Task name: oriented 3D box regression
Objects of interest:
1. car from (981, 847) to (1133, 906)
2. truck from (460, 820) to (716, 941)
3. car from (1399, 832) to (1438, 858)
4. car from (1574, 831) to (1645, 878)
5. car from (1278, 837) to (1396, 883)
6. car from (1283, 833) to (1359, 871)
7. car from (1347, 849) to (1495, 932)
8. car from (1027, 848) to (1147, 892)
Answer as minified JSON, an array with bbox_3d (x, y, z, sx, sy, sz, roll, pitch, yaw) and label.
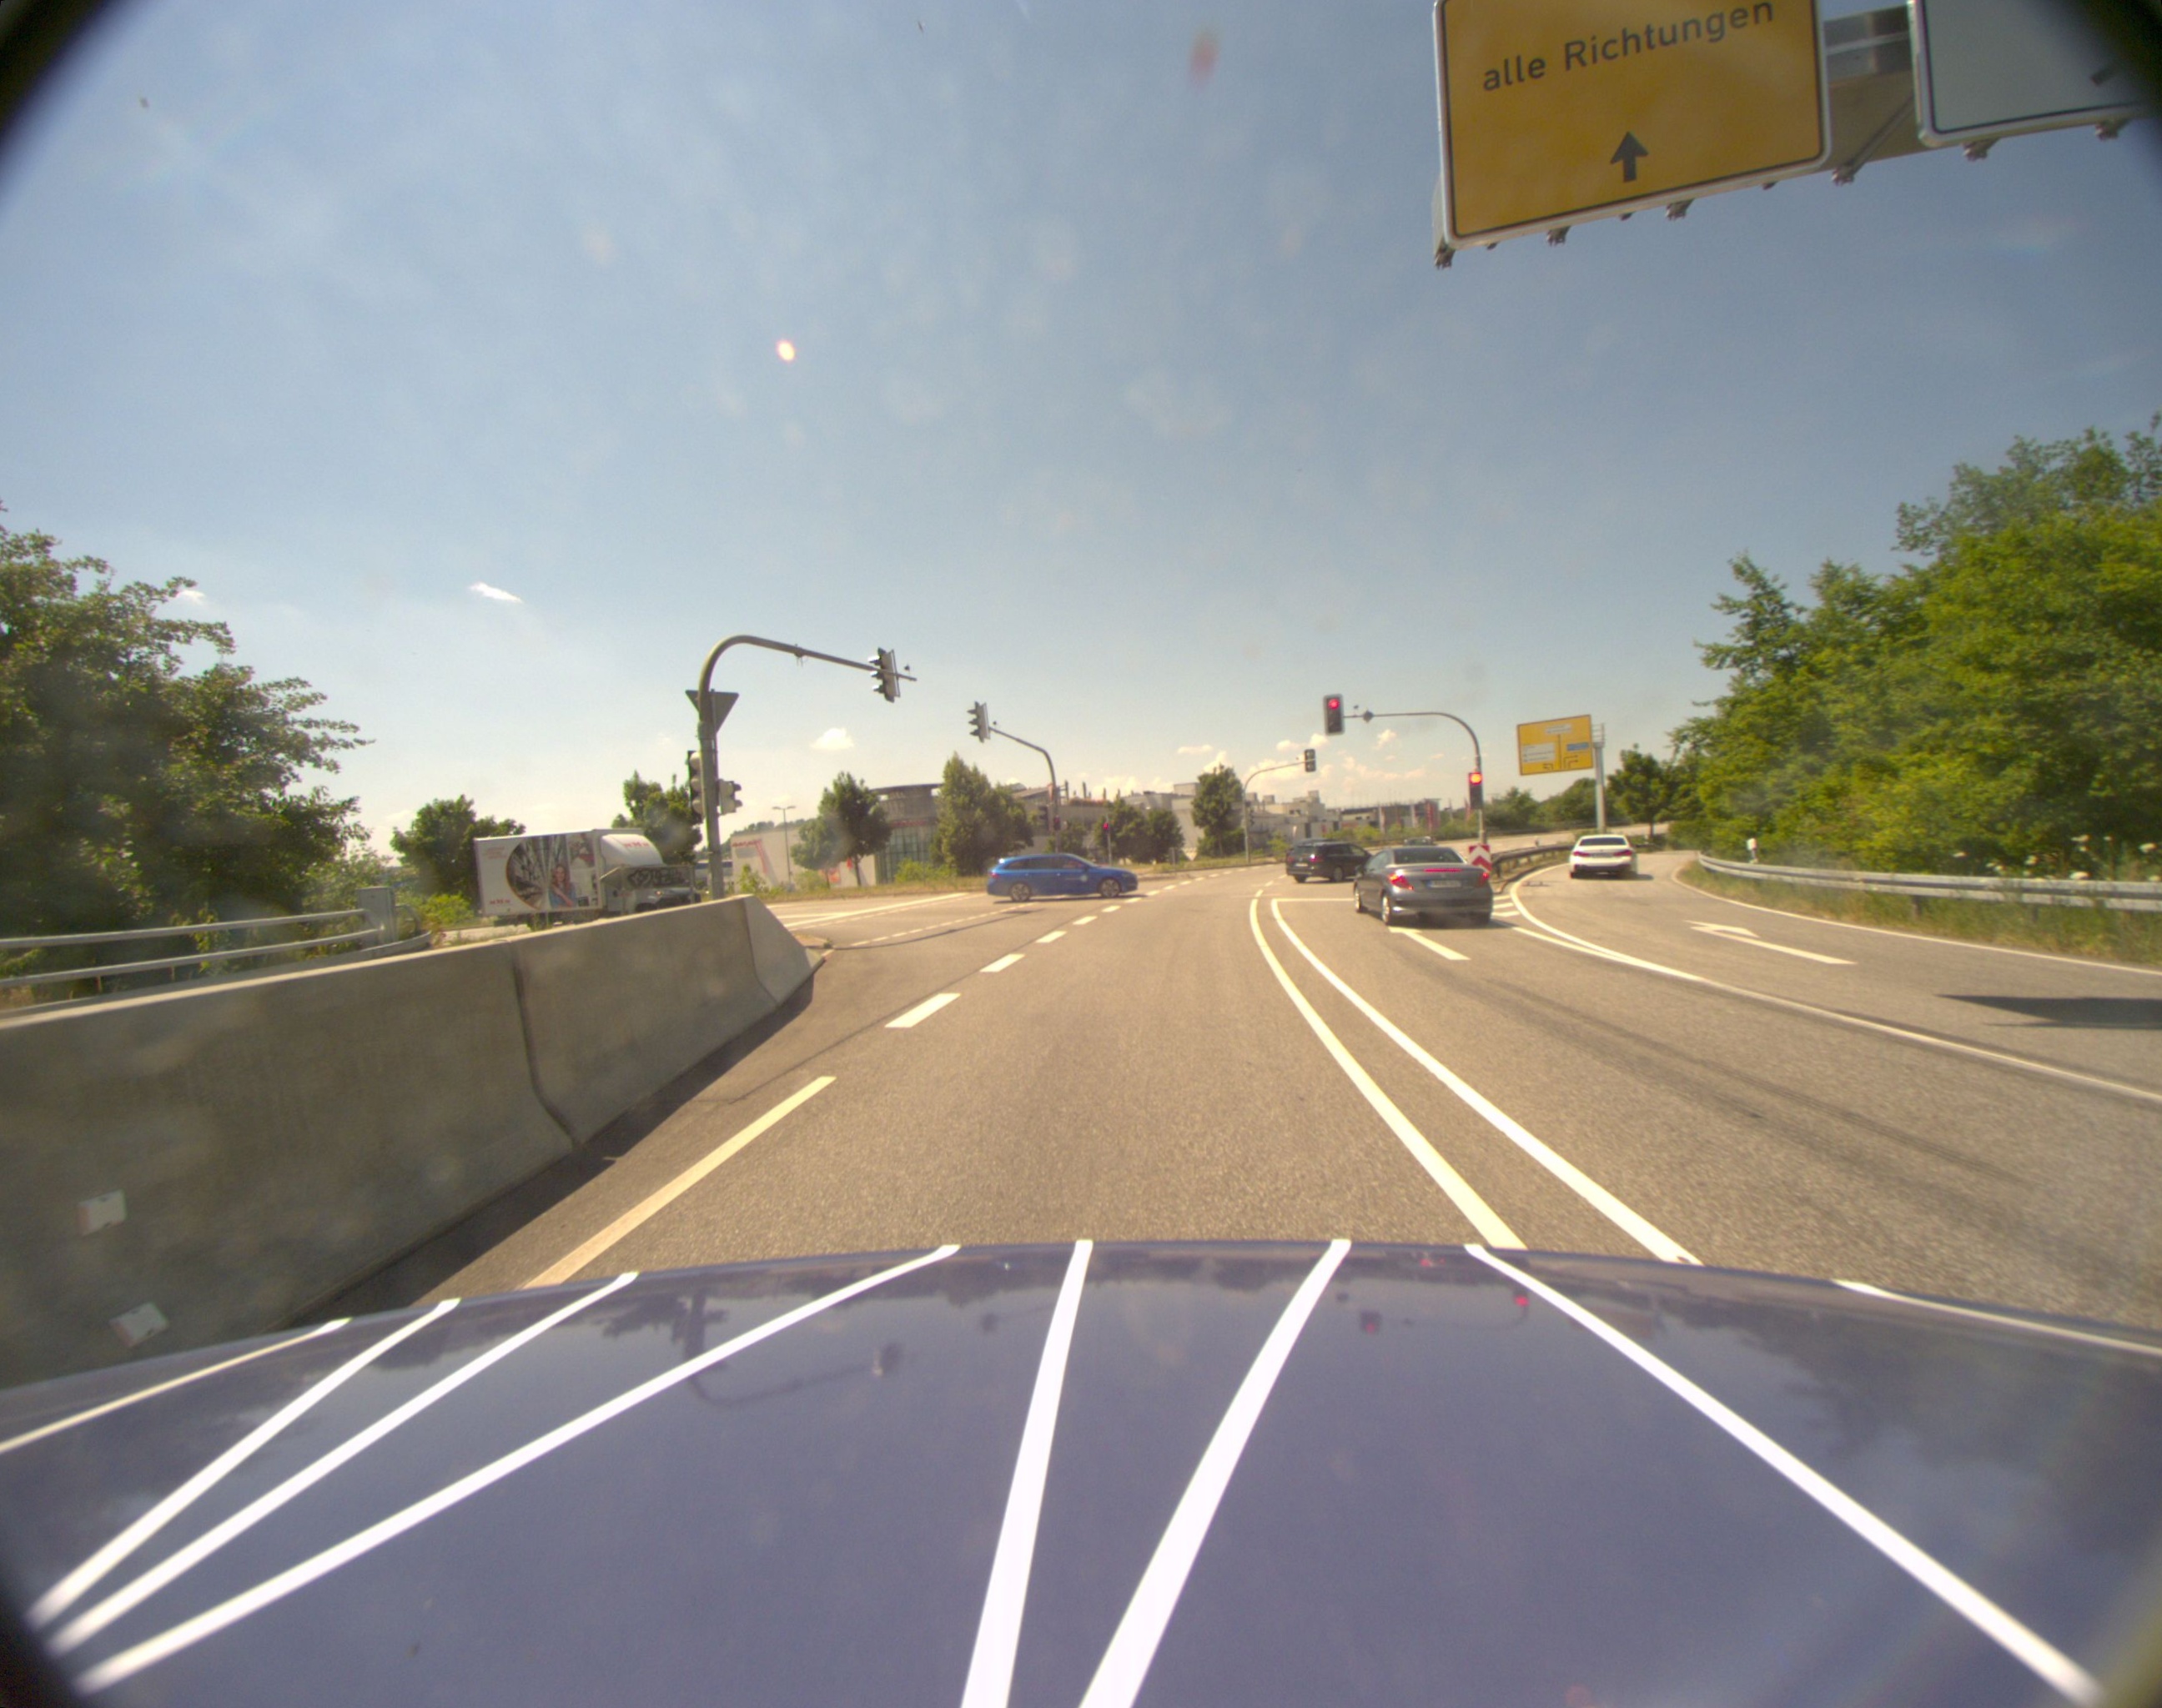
[{"bbox_3d":[-0.718,0.681,23.670,4.486,1.454,1.713,-4,2,1],"label":"car"},{"bbox_3d":[-16.749,0.862,26.032,7.193,3.329,2.416,-5,3,8],"label":"truck"},{"bbox_3d":[19.671,-0.523,44.227,1.620,1.399,3.306,0,3,32],"label":"car"},{"bbox_3d":[18.224,-0.018,26.227,1.838,1.476,4.846,0,1,35],"label":"car"},{"bbox_3d":[9.581,0.182,28.330,4.436,1.474,1.779,-3,3,-32],"label":"car"},{"bbox_3d":[11.720,-0.119,36.923,1.876,1.592,4.514,-2,1,40],"label":"car"},{"bbox_3d":[6.268,0.596,14.453,1.648,1.344,3.971,-1,1,10],"label":"car"},{"bbox_3d":[0.184,0.589,29.377,4.447,1.380,1.665,-3,2,-3],"label":"car"}]
